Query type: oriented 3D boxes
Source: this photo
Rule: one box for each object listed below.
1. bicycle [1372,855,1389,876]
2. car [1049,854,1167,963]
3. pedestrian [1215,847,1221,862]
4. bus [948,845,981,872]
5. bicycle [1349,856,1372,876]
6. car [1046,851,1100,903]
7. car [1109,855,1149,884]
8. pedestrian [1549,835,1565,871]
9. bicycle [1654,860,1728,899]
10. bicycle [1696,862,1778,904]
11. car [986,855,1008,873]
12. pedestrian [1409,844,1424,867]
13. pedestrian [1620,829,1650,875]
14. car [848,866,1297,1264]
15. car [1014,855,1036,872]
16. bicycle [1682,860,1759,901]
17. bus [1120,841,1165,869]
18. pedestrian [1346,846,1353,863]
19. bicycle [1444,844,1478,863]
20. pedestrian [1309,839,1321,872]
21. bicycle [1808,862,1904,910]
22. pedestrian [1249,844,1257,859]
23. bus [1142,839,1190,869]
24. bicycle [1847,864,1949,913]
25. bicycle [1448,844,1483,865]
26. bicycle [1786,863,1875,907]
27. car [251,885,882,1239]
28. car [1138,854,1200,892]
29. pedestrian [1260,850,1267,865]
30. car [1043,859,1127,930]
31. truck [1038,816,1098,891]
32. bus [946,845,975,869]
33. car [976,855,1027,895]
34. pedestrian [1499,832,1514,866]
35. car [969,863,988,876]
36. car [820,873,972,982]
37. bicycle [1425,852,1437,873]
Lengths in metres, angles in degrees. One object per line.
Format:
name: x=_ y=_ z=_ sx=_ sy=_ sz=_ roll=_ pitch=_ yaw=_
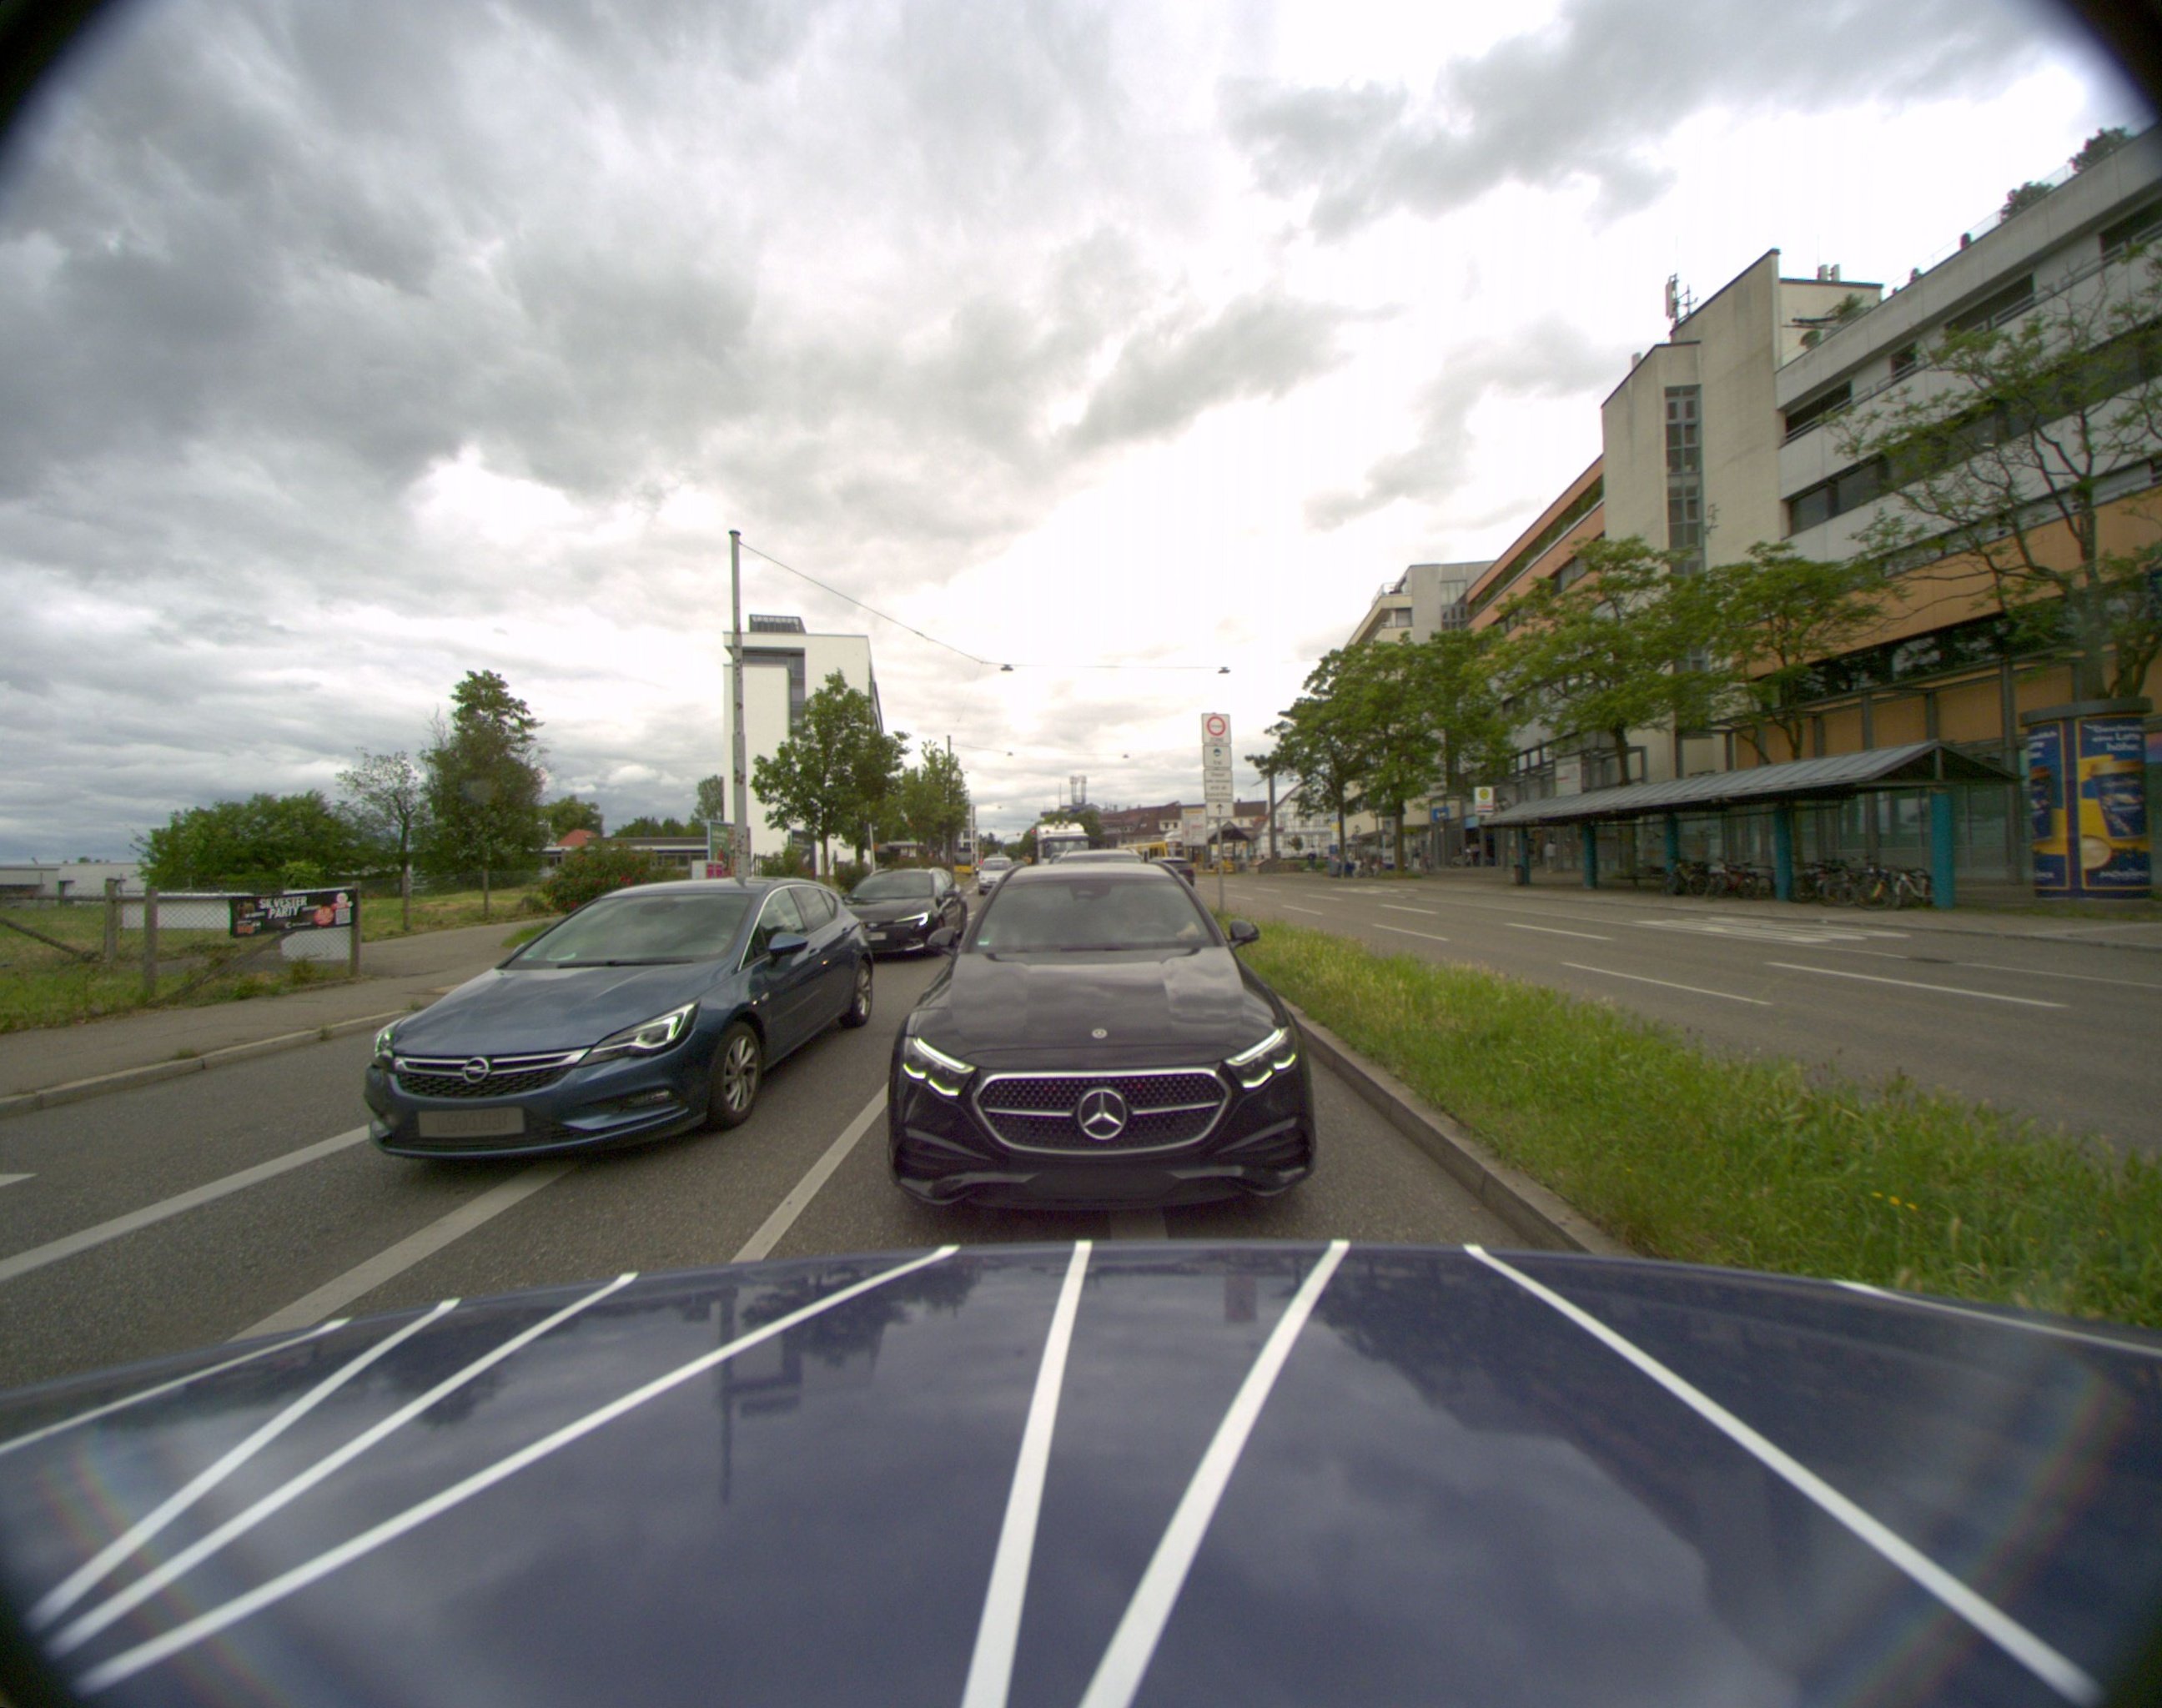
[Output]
bicycle: x=16.412 y=0.622 z=41.648 sx=0.593 sy=1.071 sz=2.041 roll=0 pitch=1 yaw=29
car: x=0.401 y=0.821 z=13.485 sx=1.734 sy=1.601 sz=4.000 roll=-2 pitch=0 yaw=0
pedestrian: x=19.067 y=0.095 z=105.502 sx=0.742 sy=2.002 sz=0.939 roll=-1 pitch=1 yaw=11
bus: x=-12.803 y=0.392 z=82.731 sx=2.969 sy=2.616 sz=12.137 roll=-2 pitch=1 yaw=-11
bicycle: x=15.489 y=0.655 z=42.019 sx=0.593 sy=1.071 sz=2.041 roll=0 pitch=1 yaw=38
car: x=-0.356 y=0.776 z=28.348 sx=1.865 sy=1.773 sz=3.999 roll=-1 pitch=0 yaw=-2
car: x=2.809 y=0.892 z=45.663 sx=1.840 sy=1.512 sz=4.069 roll=0 pitch=2 yaw=-4
pedestrian: x=24.109 y=-0.048 z=38.490 sx=0.648 sy=1.799 sz=0.761 roll=0 pitch=1 yaw=34
bicycle: x=18.214 y=0.748 z=22.705 sx=1.735 sy=1.035 sz=0.549 roll=-3 pitch=1 yaw=-2
bicycle: x=17.957 y=0.790 z=20.812 sx=1.735 sy=1.035 sz=0.549 roll=-3 pitch=1 yaw=-2
car: x=-8.859 y=1.017 z=80.239 sx=2.000 sy=1.811 sz=3.996 roll=-1 pitch=0 yaw=-10
pedestrian: x=24.362 y=0.099 z=55.171 sx=0.765 sy=1.673 sz=0.752 roll=-1 pitch=1 yaw=1
pedestrian: x=24.977 y=-0.083 z=34.265 sx=0.710 sy=2.002 sz=0.794 roll=-2 pitch=1 yaw=-6
car: x=-0.044 y=0.885 z=5.193 sx=1.793 sy=1.507 sz=4.249 roll=-1 pitch=0 yaw=0
car: x=-6.098 y=0.988 z=82.707 sx=2.000 sy=1.674 sz=3.997 roll=-4 pitch=1 yaw=-8
bicycle: x=18.293 y=0.743 z=21.745 sx=1.735 sy=1.035 sz=0.549 roll=-4 pitch=1 yaw=-2
bus: x=6.950 y=0.089 z=87.955 sx=2.556 sy=2.966 sz=9.790 roll=-1 pitch=0 yaw=-11
pedestrian: x=19.399 y=0.043 z=54.933 sx=0.341 sy=1.172 sz=0.369 roll=-1 pitch=1 yaw=-9
bicycle: x=27.768 y=-0.027 z=55.553 sx=2.138 sy=1.358 sz=0.620 roll=-2 pitch=1 yaw=26
pedestrian: x=16.315 y=0.081 z=53.039 sx=0.590 sy=2.294 sz=0.608 roll=-1 pitch=1 yaw=-2
bicycle: x=18.635 y=0.752 z=18.286 sx=1.735 sy=1.035 sz=0.549 roll=-3 pitch=1 yaw=-2
pedestrian: x=22.359 y=-0.317 z=99.010 sx=0.879 sy=2.002 sz=1.010 roll=-1 pitch=1 yaw=6
bus: x=8.712 y=0.005 z=79.017 sx=2.556 sy=2.966 sz=8.498 roll=-1 pitch=0 yaw=-11
bicycle: x=18.694 y=0.784 z=17.400 sx=1.735 sy=1.035 sz=0.549 roll=-2 pitch=1 yaw=-2
bicycle: x=27.005 y=0.031 z=53.402 sx=2.139 sy=1.367 sz=0.620 roll=-2 pitch=1 yaw=18
bicycle: x=19.035 y=0.774 z=19.310 sx=1.735 sy=1.035 sz=0.549 roll=-2 pitch=1 yaw=-2
car: x=-2.905 y=1.050 z=5.530 sx=1.826 sy=1.402 sz=4.000 roll=-2 pitch=0 yaw=0
car: x=3.706 y=0.771 z=32.722 sx=1.714 sy=1.472 sz=4.285 roll=-1 pitch=0 yaw=-6
pedestrian: x=19.256 y=0.365 z=80.076 sx=0.577 sy=1.533 sz=0.583 roll=-1 pitch=1 yaw=-8
car: x=0.054 y=0.911 z=18.912 sx=1.865 sy=1.520 sz=3.999 roll=-1 pitch=0 yaw=-1
truck: x=-0.756 y=-0.042 z=36.727 sx=2.490 sy=3.258 sz=7.428 roll=-1 pitch=0 yaw=-4
bus: x=-15.208 y=0.347 z=95.054 sx=2.969 sy=2.616 sz=12.911 roll=-2 pitch=1 yaw=-11
car: x=-3.575 y=0.915 z=34.778 sx=1.851 sy=1.606 sz=3.783 roll=-3 pitch=0 yaw=0
pedestrian: x=25.249 y=-0.311 z=45.047 sx=0.566 sy=2.002 sz=0.611 roll=-1 pitch=1 yaw=6
car: x=-13.275 y=1.982 z=98.215 sx=2.001 sy=1.592 sz=3.995 roll=-1 pitch=0 yaw=-15
car: x=-3.041 y=1.147 z=13.306 sx=1.665 sy=1.448 sz=3.921 roll=-2 pitch=0 yaw=0
bicycle: x=19.497 y=0.469 z=42.387 sx=0.593 sy=1.119 sz=2.040 roll=0 pitch=1 yaw=24
